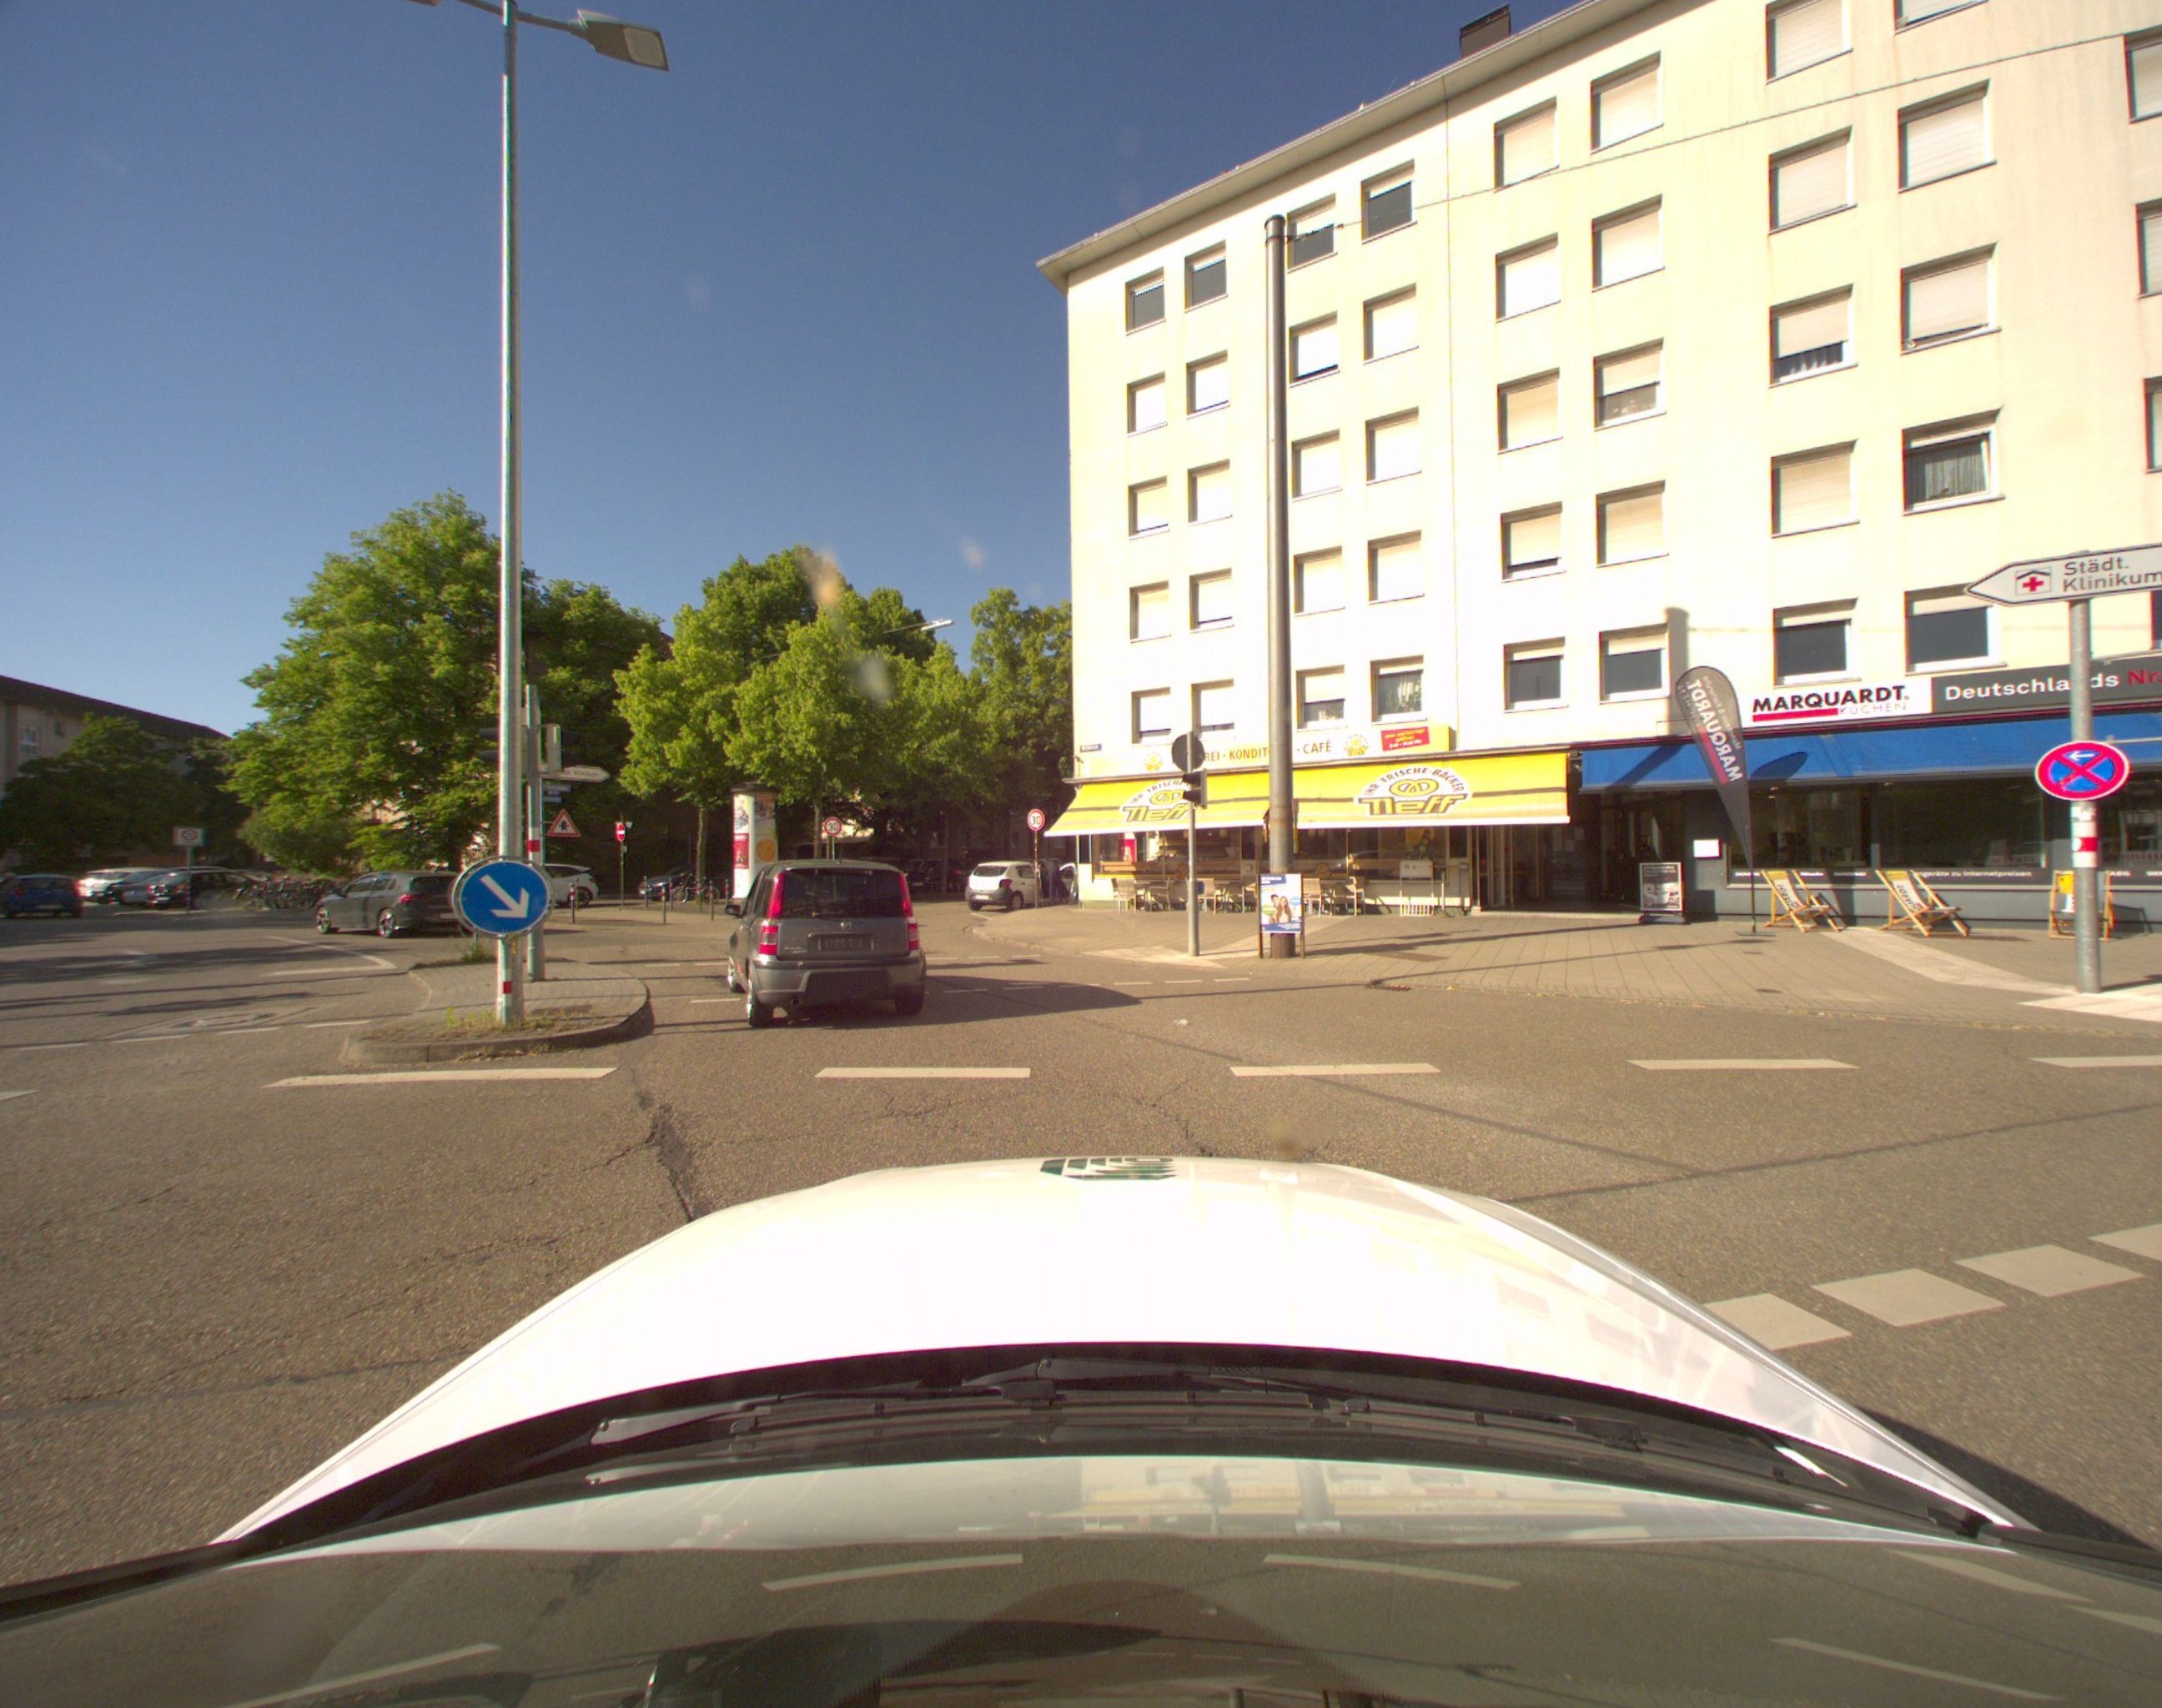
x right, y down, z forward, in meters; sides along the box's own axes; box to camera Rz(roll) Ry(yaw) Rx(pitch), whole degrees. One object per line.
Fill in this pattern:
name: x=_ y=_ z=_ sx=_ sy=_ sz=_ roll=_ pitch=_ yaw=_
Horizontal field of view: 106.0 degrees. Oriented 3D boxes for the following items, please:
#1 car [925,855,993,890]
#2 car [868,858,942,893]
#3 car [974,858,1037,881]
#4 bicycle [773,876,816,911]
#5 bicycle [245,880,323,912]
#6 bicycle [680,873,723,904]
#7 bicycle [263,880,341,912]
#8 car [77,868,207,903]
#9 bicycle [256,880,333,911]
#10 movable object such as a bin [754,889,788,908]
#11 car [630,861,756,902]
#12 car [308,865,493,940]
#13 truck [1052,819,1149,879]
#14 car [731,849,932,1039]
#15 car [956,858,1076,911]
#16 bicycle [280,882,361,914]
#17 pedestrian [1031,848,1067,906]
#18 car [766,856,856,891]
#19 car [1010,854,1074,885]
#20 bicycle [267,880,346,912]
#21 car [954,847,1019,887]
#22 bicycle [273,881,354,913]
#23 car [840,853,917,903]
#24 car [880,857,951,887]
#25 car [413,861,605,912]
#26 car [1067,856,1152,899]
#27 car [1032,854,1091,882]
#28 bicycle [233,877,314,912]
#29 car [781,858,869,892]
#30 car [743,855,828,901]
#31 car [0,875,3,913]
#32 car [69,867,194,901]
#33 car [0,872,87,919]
car: x=-5.605 y=0.813 z=37.085 sx=1.767 sy=1.481 sz=3.787 roll=-1 pitch=0 yaw=-30
car: x=-7.800 y=0.906 z=35.834 sx=1.829 sy=1.422 sz=3.907 roll=-1 pitch=0 yaw=-34
car: x=-4.626 y=0.961 z=50.542 sx=1.747 sy=1.294 sz=4.440 roll=-3 pitch=-1 yaw=28
bicycle: x=-9.297 y=1.260 z=26.505 sx=0.349 sy=1.072 sz=1.601 roll=-1 pitch=0 yaw=21
bicycle: x=-29.673 y=1.548 z=30.375 sx=0.443 sy=1.031 sz=2.045 roll=-1 pitch=0 yaw=23
bicycle: x=-13.809 y=1.235 z=29.681 sx=0.349 sy=1.072 sz=1.601 roll=-1 pitch=0 yaw=21
bicycle: x=-28.576 y=1.527 z=29.926 sx=0.443 sy=1.031 sz=2.045 roll=-1 pitch=0 yaw=23
car: x=-43.198 y=1.415 z=37.590 sx=1.607 sy=1.481 sz=3.600 roll=-1 pitch=0 yaw=7
bicycle: x=-29.113 y=1.528 z=30.186 sx=0.443 sy=1.031 sz=2.045 roll=-1 pitch=0 yaw=23
movable object such as a bin: x=-10.358 y=1.490 z=27.249 sx=0.572 sy=0.565 sz=1.117 roll=-1 pitch=0 yaw=11
car: x=-15.823 y=1.073 z=33.467 sx=1.884 sy=1.518 sz=4.327 roll=-1 pitch=0 yaw=32
car: x=-15.180 y=1.021 z=18.172 sx=3.712 sy=1.508 sz=1.693 roll=-1 pitch=0 yaw=24
truck: x=1.010 y=-0.238 z=48.190 sx=2.553 sy=3.293 sz=7.260 roll=-1 pitch=0 yaw=-27
car: x=-2.785 y=0.757 z=8.619 sx=1.624 sy=1.561 sz=3.231 roll=-1 pitch=0 yaw=-24
car: x=-1.961 y=0.903 z=25.738 sx=1.702 sy=1.497 sz=4.048 roll=-1 pitch=0 yaw=32
bicycle: x=-27.066 y=1.546 z=29.023 sx=0.564 sy=1.031 sz=2.045 roll=-1 pitch=0 yaw=23
pedestrian: x=-0.959 y=0.687 z=24.615 sx=0.751 sy=1.722 sz=0.750 roll=-1 pitch=0 yaw=37
car: x=-13.766 y=0.944 z=41.762 sx=1.737 sy=1.640 sz=4.273 roll=-1 pitch=0 yaw=29
car: x=-2.094 y=0.756 z=42.400 sx=1.816 sy=1.507 sz=4.308 roll=-1 pitch=0 yaw=-25
bicycle: x=-28.158 y=1.517 z=29.662 sx=0.463 sy=1.031 sz=2.045 roll=-1 pitch=0 yaw=23
car: x=-4.823 y=0.630 z=41.020 sx=1.939 sy=1.873 sz=4.466 roll=-1 pitch=0 yaw=-25
bicycle: x=-27.662 y=1.527 z=29.406 sx=0.564 sy=1.031 sz=2.045 roll=-1 pitch=0 yaw=23
car: x=-7.872 y=0.844 z=31.375 sx=1.842 sy=1.671 sz=4.297 roll=-1 pitch=2 yaw=-29
car: x=-8.820 y=0.955 z=43.750 sx=1.738 sy=1.486 sz=3.972 roll=-1 pitch=0 yaw=25
car: x=-19.596 y=1.063 z=28.145 sx=1.899 sy=1.518 sz=5.069 roll=-1 pitch=0 yaw=37
car: x=1.146 y=0.852 z=30.995 sx=1.581 sy=1.463 sz=3.696 roll=-1 pitch=0 yaw=32
car: x=-1.182 y=0.750 z=46.467 sx=1.816 sy=1.507 sz=4.308 roll=-1 pitch=0 yaw=-25
bicycle: x=-30.317 y=1.495 z=30.603 sx=0.660 sy=1.177 sz=2.045 roll=-1 pitch=0 yaw=23
car: x=-12.030 y=0.955 z=38.507 sx=1.738 sy=1.486 sz=3.972 roll=-1 pitch=0 yaw=25
car: x=-11.422 y=0.887 z=31.358 sx=1.932 sy=1.610 sz=3.955 roll=-1 pitch=0 yaw=-38
car: x=-44.651 y=1.609 z=32.679 sx=3.549 sy=1.508 sz=1.695 roll=-1 pitch=0 yaw=37
car: x=-45.626 y=1.421 z=39.229 sx=1.607 sy=1.481 sz=3.600 roll=-1 pitch=0 yaw=7
car: x=-36.351 y=1.412 z=28.379 sx=3.550 sy=1.508 sz=1.694 roll=-1 pitch=0 yaw=32
